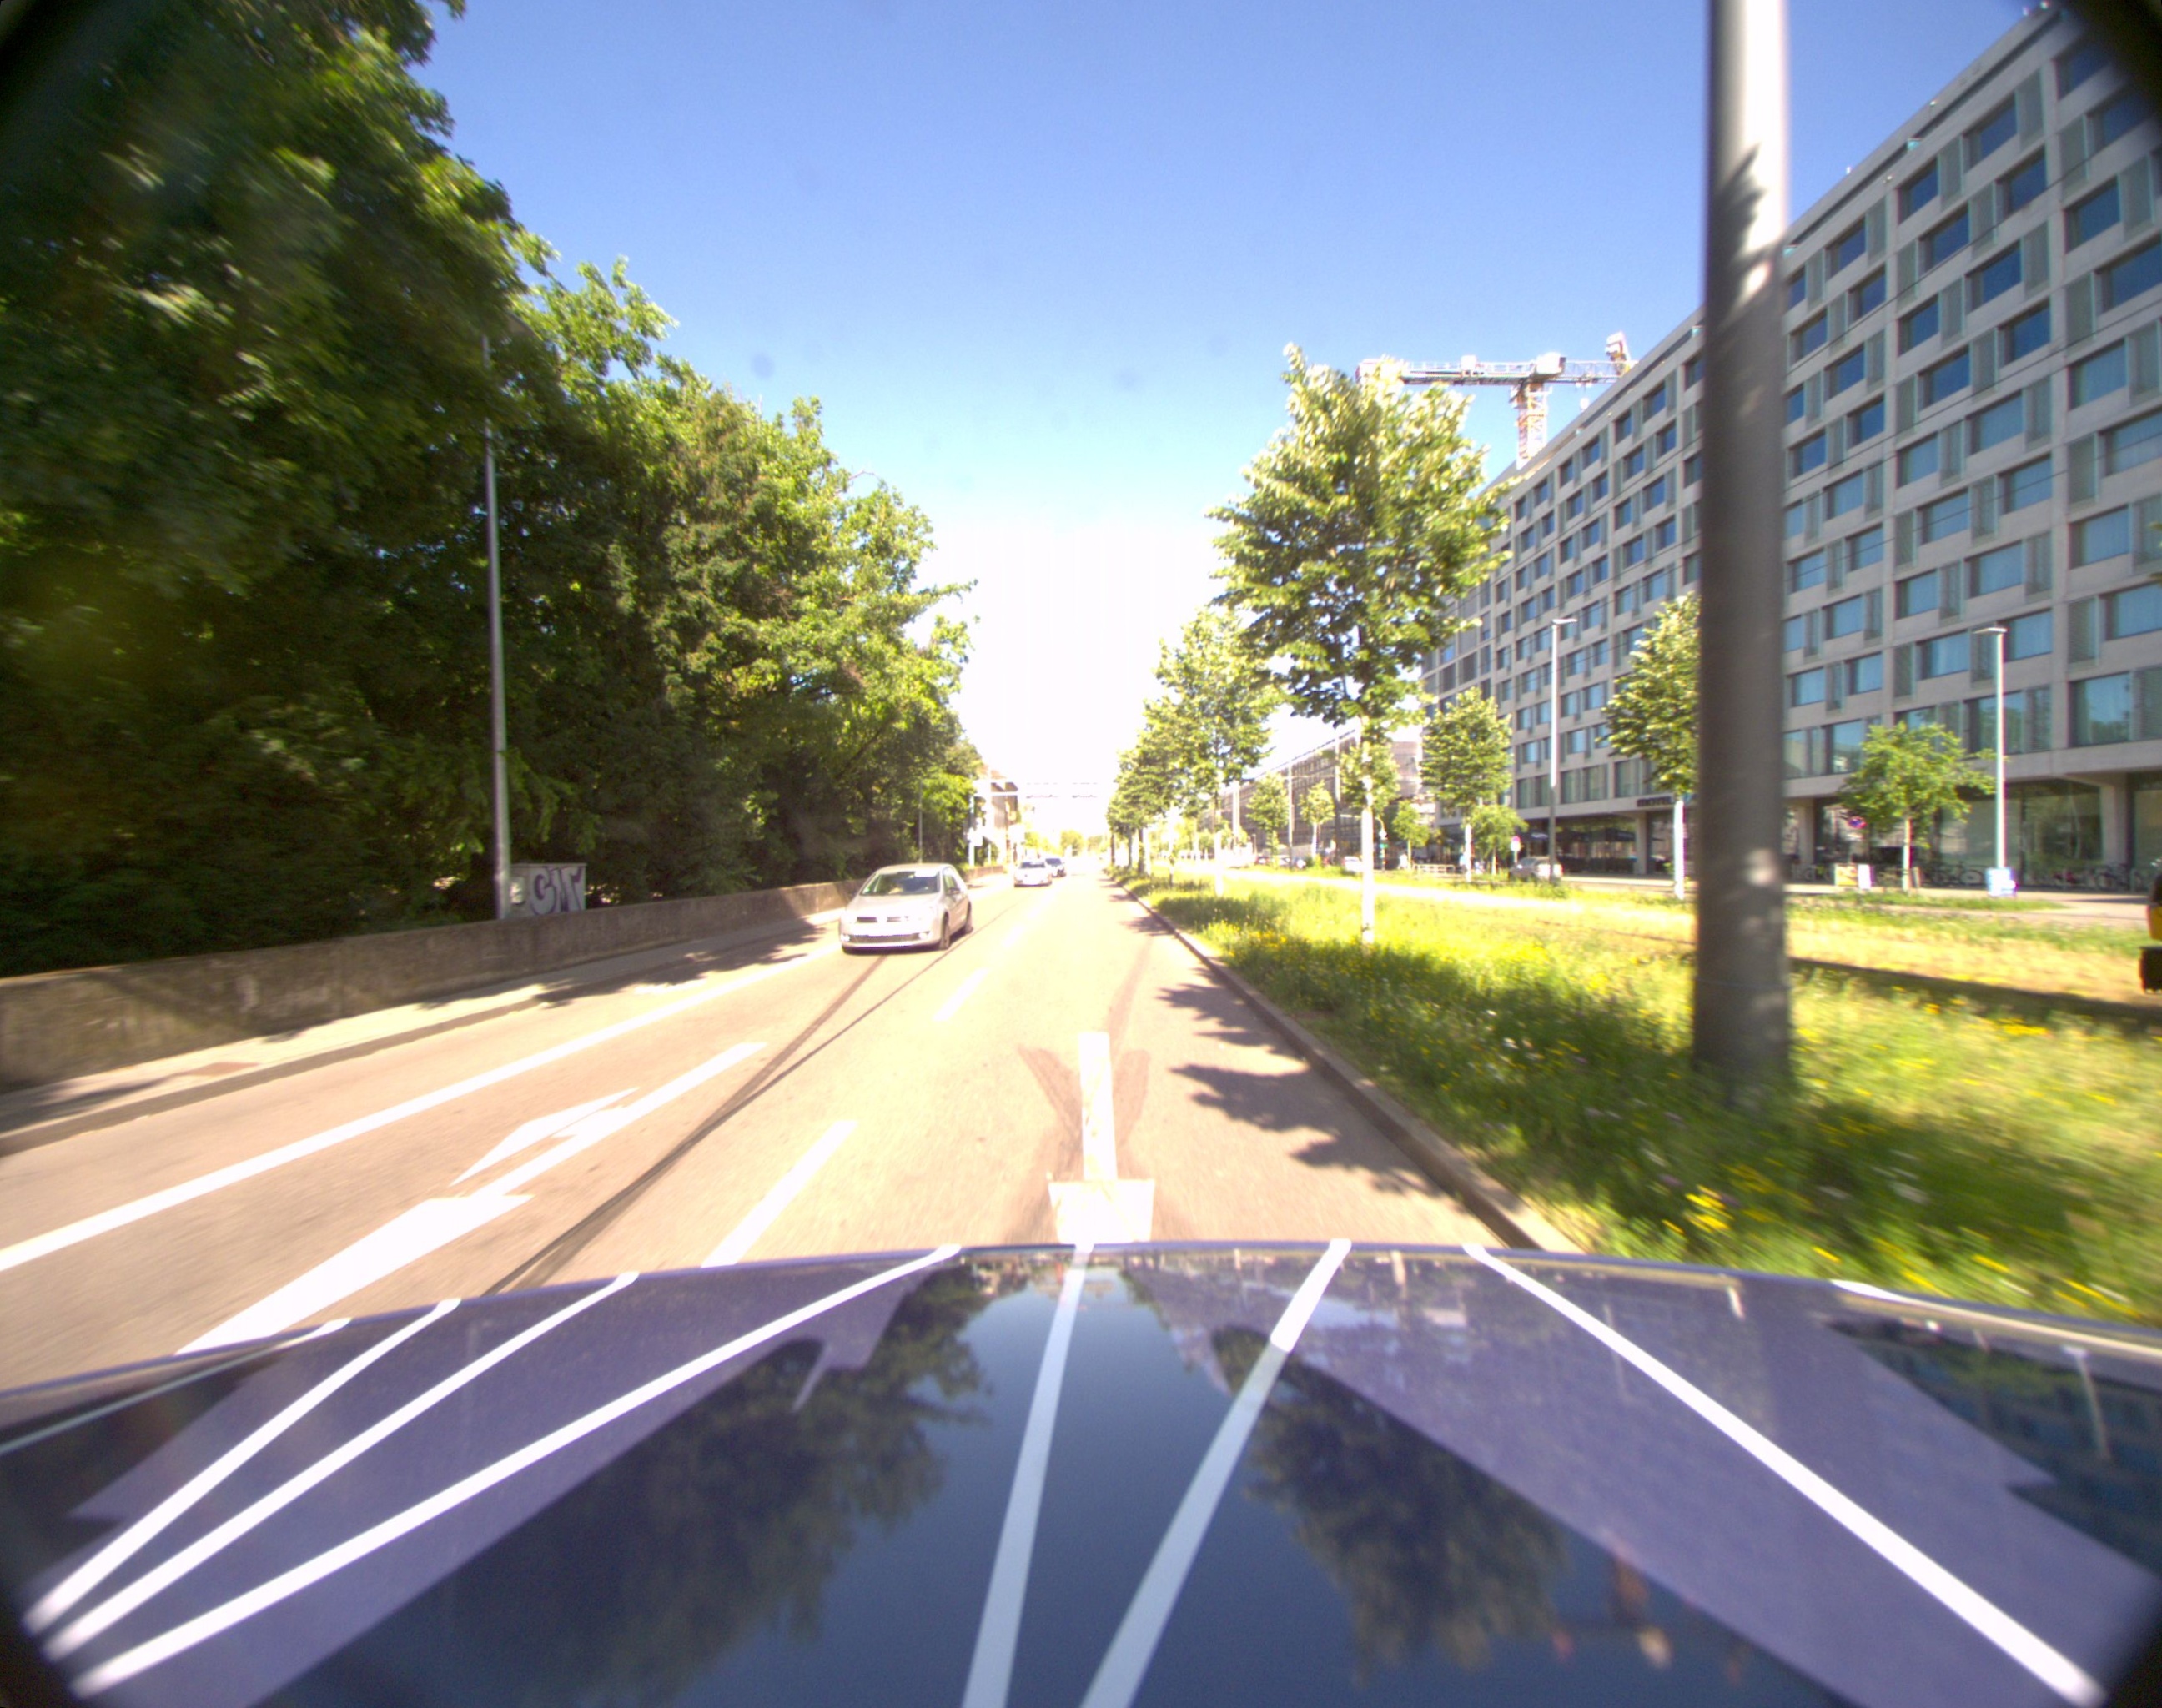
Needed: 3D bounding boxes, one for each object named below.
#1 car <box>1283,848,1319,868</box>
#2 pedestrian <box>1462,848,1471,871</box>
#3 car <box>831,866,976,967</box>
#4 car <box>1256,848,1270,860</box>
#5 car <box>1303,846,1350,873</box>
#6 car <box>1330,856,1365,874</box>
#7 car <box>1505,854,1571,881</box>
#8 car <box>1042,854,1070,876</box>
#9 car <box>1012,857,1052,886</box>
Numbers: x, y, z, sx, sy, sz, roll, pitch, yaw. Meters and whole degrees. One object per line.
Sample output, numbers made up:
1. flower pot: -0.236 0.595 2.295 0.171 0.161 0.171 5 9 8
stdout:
1. car: 17.734 0.273 61.314 1.729 1.543 4.000 -2 0 0
2. pedestrian: 30.985 0.410 61.095 0.509 1.829 0.515 -1 1 12
3. car: -3.085 1.017 14.002 1.703 1.466 3.999 -2 0 0
4. car: 24.944 -0.022 103.832 1.776 1.664 3.893 -1 1 14
5. car: 17.576 0.357 54.558 1.998 1.808 4.285 -2 0 1
6. car: 24.092 0.932 68.751 1.827 1.499 3.813 -2 0 0
7. car: 28.712 0.822 47.891 1.865 1.541 3.772 -2 0 0
8. car: -1.844 0.780 56.486 1.999 1.493 3.999 0 0 -2
9. car: -2.541 0.888 40.353 1.839 1.415 3.999 -2 0 0
